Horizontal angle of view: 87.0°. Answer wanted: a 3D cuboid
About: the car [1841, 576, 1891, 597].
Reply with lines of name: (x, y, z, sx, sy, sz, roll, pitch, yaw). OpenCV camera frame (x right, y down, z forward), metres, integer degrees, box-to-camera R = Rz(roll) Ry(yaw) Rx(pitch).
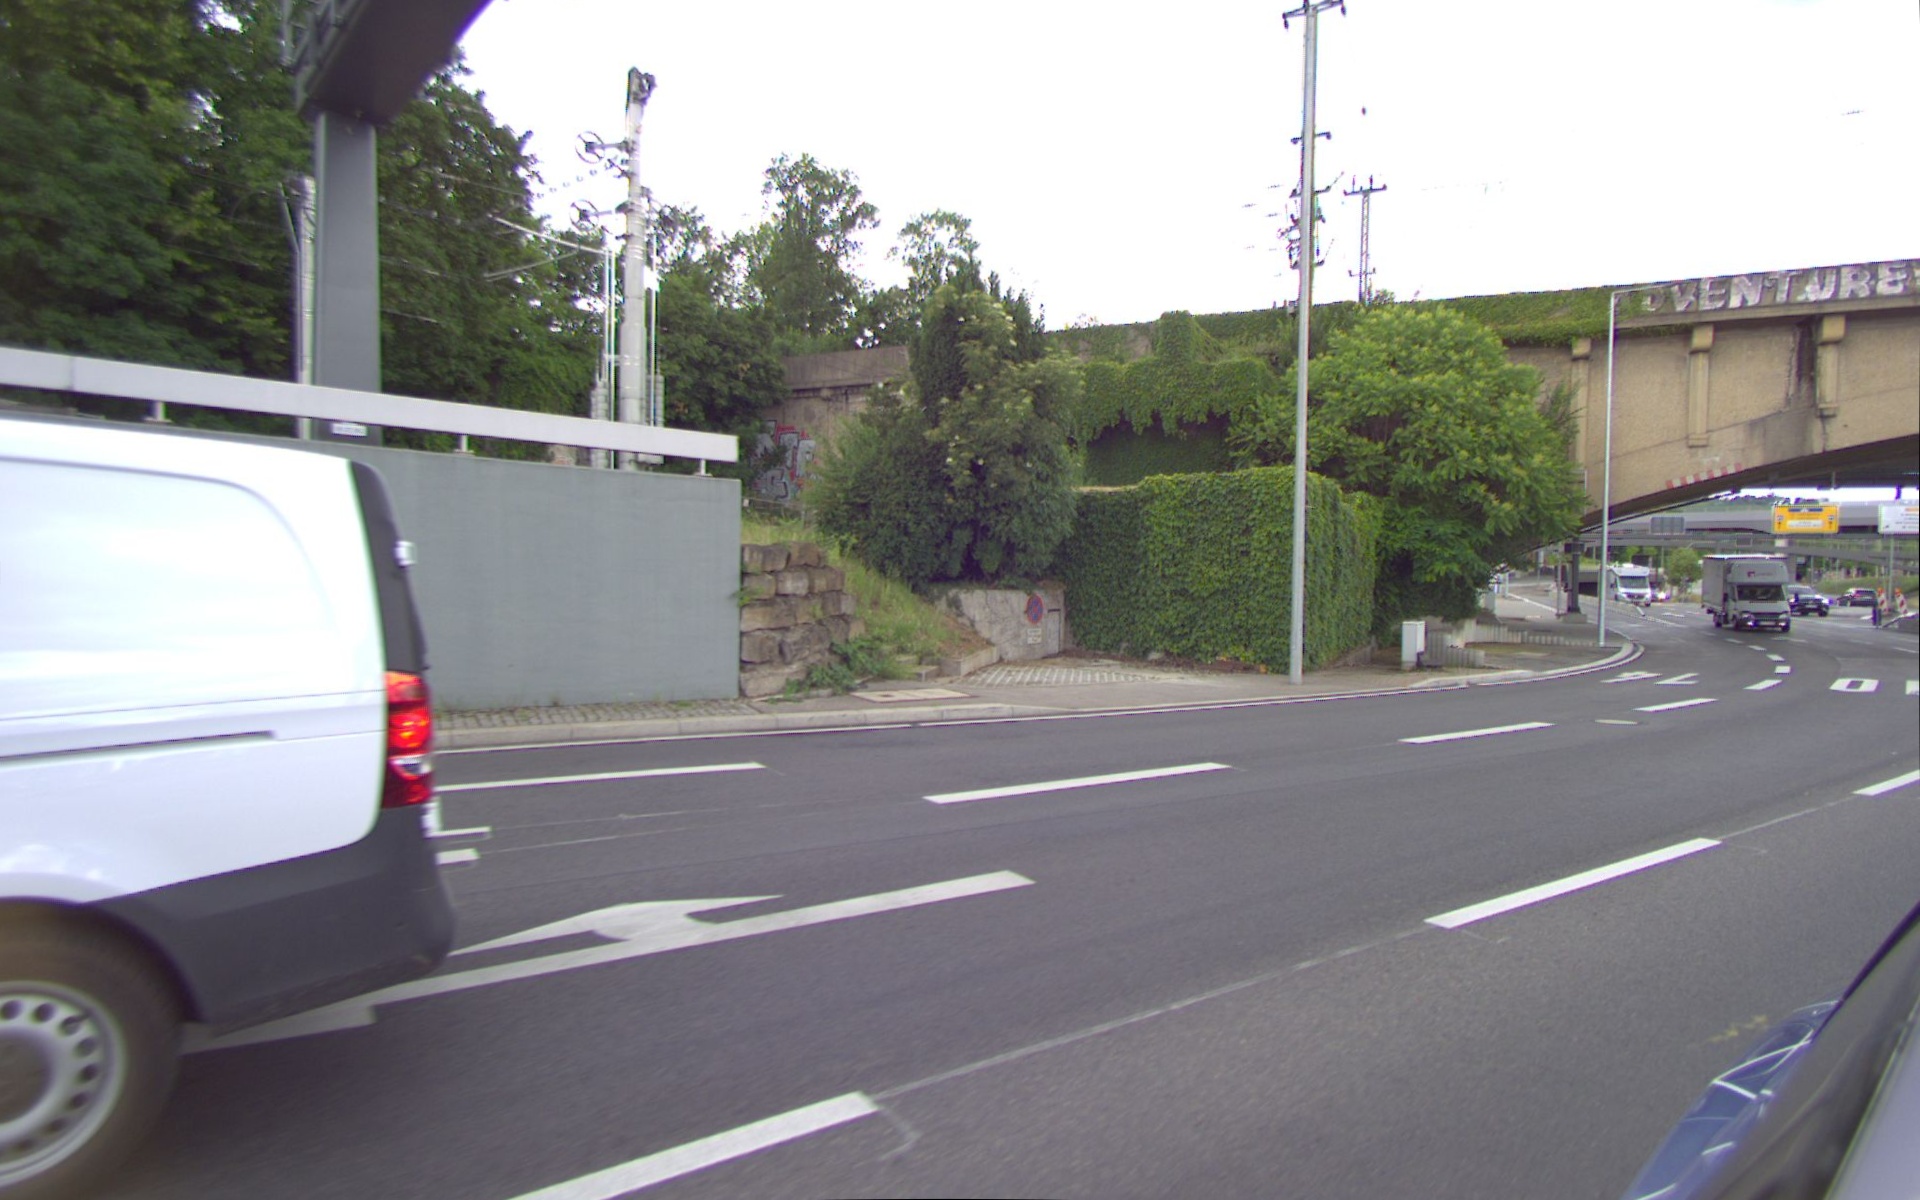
car: (69.869, -1.002, 78.105, 1.806, 1.556, 4.359, 0, 0, 27)

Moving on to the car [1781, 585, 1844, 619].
car: (49.402, 0.099, 58.736, 1.851, 1.861, 4.166, 1, 1, 27)

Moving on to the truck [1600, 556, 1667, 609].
truck: (48.732, -1.262, 73.434, 2.548, 3.613, 9.040, 0, 1, 24)

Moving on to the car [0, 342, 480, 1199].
car: (-4.007, 0.428, 2.210, 5.101, 2.015, 2.000, 0, 0, -35)

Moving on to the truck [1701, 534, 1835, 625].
truck: (36.335, -0.856, 45.875, 3.006, 3.633, 8.862, -3, -1, 28)
